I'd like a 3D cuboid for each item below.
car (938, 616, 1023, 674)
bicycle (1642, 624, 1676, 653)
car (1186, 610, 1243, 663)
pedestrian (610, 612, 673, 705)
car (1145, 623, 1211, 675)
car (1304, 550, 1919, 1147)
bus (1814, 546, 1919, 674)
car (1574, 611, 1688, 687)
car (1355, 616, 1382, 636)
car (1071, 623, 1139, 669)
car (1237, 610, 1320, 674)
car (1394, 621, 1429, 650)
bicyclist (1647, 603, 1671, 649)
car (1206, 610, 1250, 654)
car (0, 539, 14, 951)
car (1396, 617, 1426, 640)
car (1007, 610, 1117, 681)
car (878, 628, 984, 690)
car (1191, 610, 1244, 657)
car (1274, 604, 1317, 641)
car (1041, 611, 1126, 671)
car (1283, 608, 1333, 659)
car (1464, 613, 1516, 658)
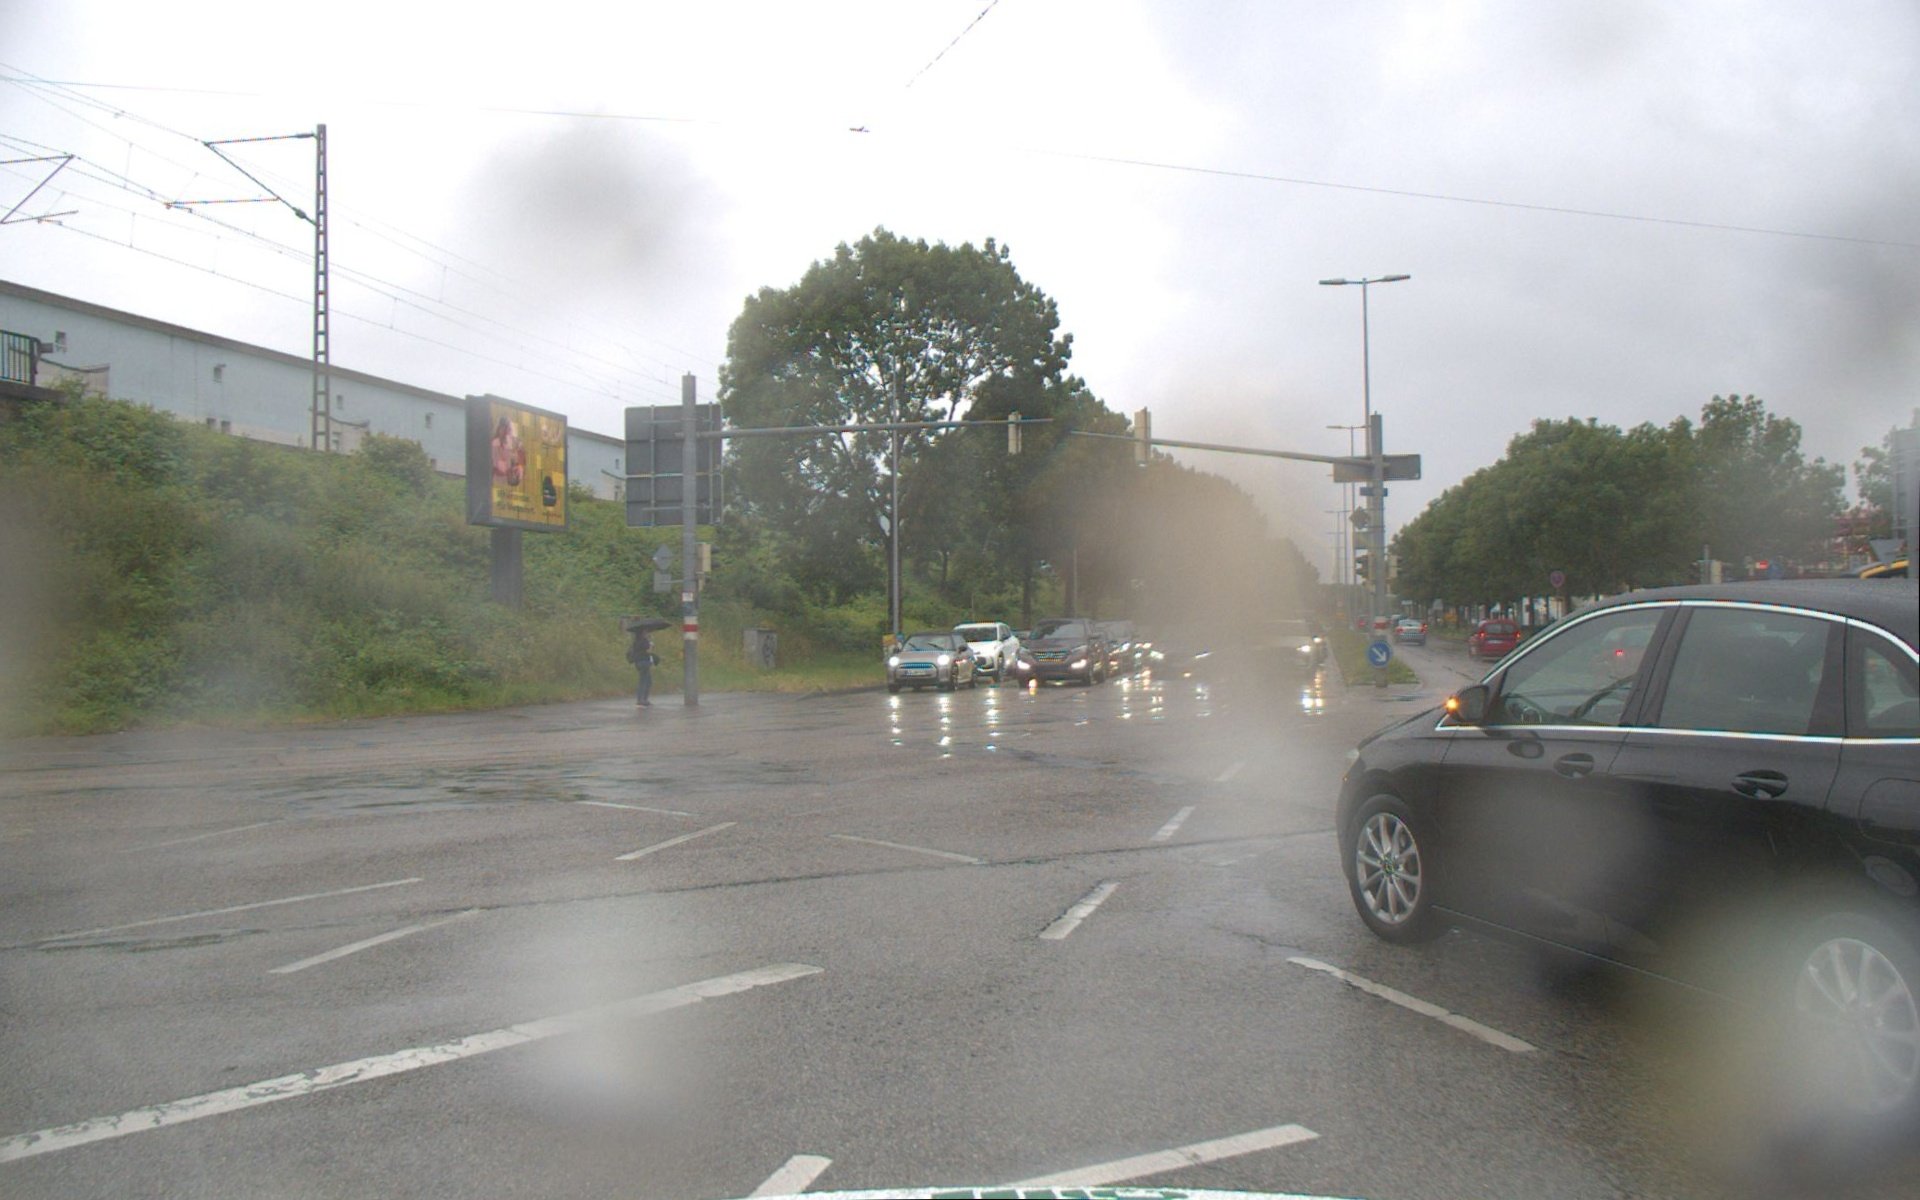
[{"bbox_3d":[0.630,1.251,47.210,1.788,1.508,4.003,-1,0,9],"label":"car"},{"bbox_3d":[29.740,1.624,70.399,0.801,1.185,2.262,-1,-1,9],"label":"bicycle"},{"bbox_3d":[8.998,1.261,58.241,1.825,1.750,4.003,-1,0,11],"label":"car"},{"bbox_3d":[-6.117,1.122,31.800,0.981,1.749,0.820,-1,-1,4],"label":"pedestrian"},{"bbox_3d":[6.245,1.377,47.737,1.788,1.382,4.003,-1,0,6],"label":"car"},{"bbox_3d":[3.005,0.656,6.059,1.839,1.550,4.072,-1,-1,-14],"label":"car"},{"bbox_3d":[29.799,0.173,44.073,11.987,3.326,3.277,-1,-1,11],"label":"bus"},{"bbox_3d":[14.236,0.999,35.258,1.643,1.517,3.624,0,0,12],"label":"car"},{"bbox_3d":[34.443,2.183,139.504,1.954,1.646,4.003,-1,-1,12],"label":"car"},{"bbox_3d":[4.770,1.467,53.988,1.788,1.382,4.003,-1,0,11],"label":"car"},{"bbox_3d":[9.433,1.199,48.722,2.123,1.750,4.306,-1,0,14],"label":"car"},{"bbox_3d":[26.174,2.038,95.951,1.803,1.646,4.003,1,0,13],"label":"car"},{"bbox_3d":[29.730,1.113,70.370,0.751,1.914,0.622,-2,-1,9],"label":"bicyclist"},{"bbox_3d":[11.236,1.332,69.216,1.619,1.750,4.003,-1,0,12],"label":"car"},{"bbox_3d":[-6.153,0.692,8.140,1.747,1.808,3.937,-2,0,-43],"label":"car"},{"bbox_3d":[33.369,2.081,122.433,1.954,1.646,4.003,-1,-1,14],"label":"car"},{"bbox_3d":[2.673,1.137,42.400,1.979,1.686,4.064,-1,0,16],"label":"car"},{"bbox_3d":[-0.665,1.438,41.207,1.852,1.373,4.003,-1,0,10],"label":"car"},{"bbox_3d":[10.064,1.287,64.480,1.805,1.750,4.003,-1,0,12],"label":"car"},{"bbox_3d":[16.296,1.077,80.511,1.897,1.750,4.003,-1,0,9],"label":"car"},{"bbox_3d":[3.672,1.180,48.487,1.816,1.638,4.003,-1,0,14],"label":"car"},{"bbox_3d":[12.549,1.181,59.716,1.565,1.750,4.003,-1,0,9],"label":"car"},{"bbox_3d":[20.856,1.377,65.230,1.597,1.685,3.487,1,0,12],"label":"car"}]
